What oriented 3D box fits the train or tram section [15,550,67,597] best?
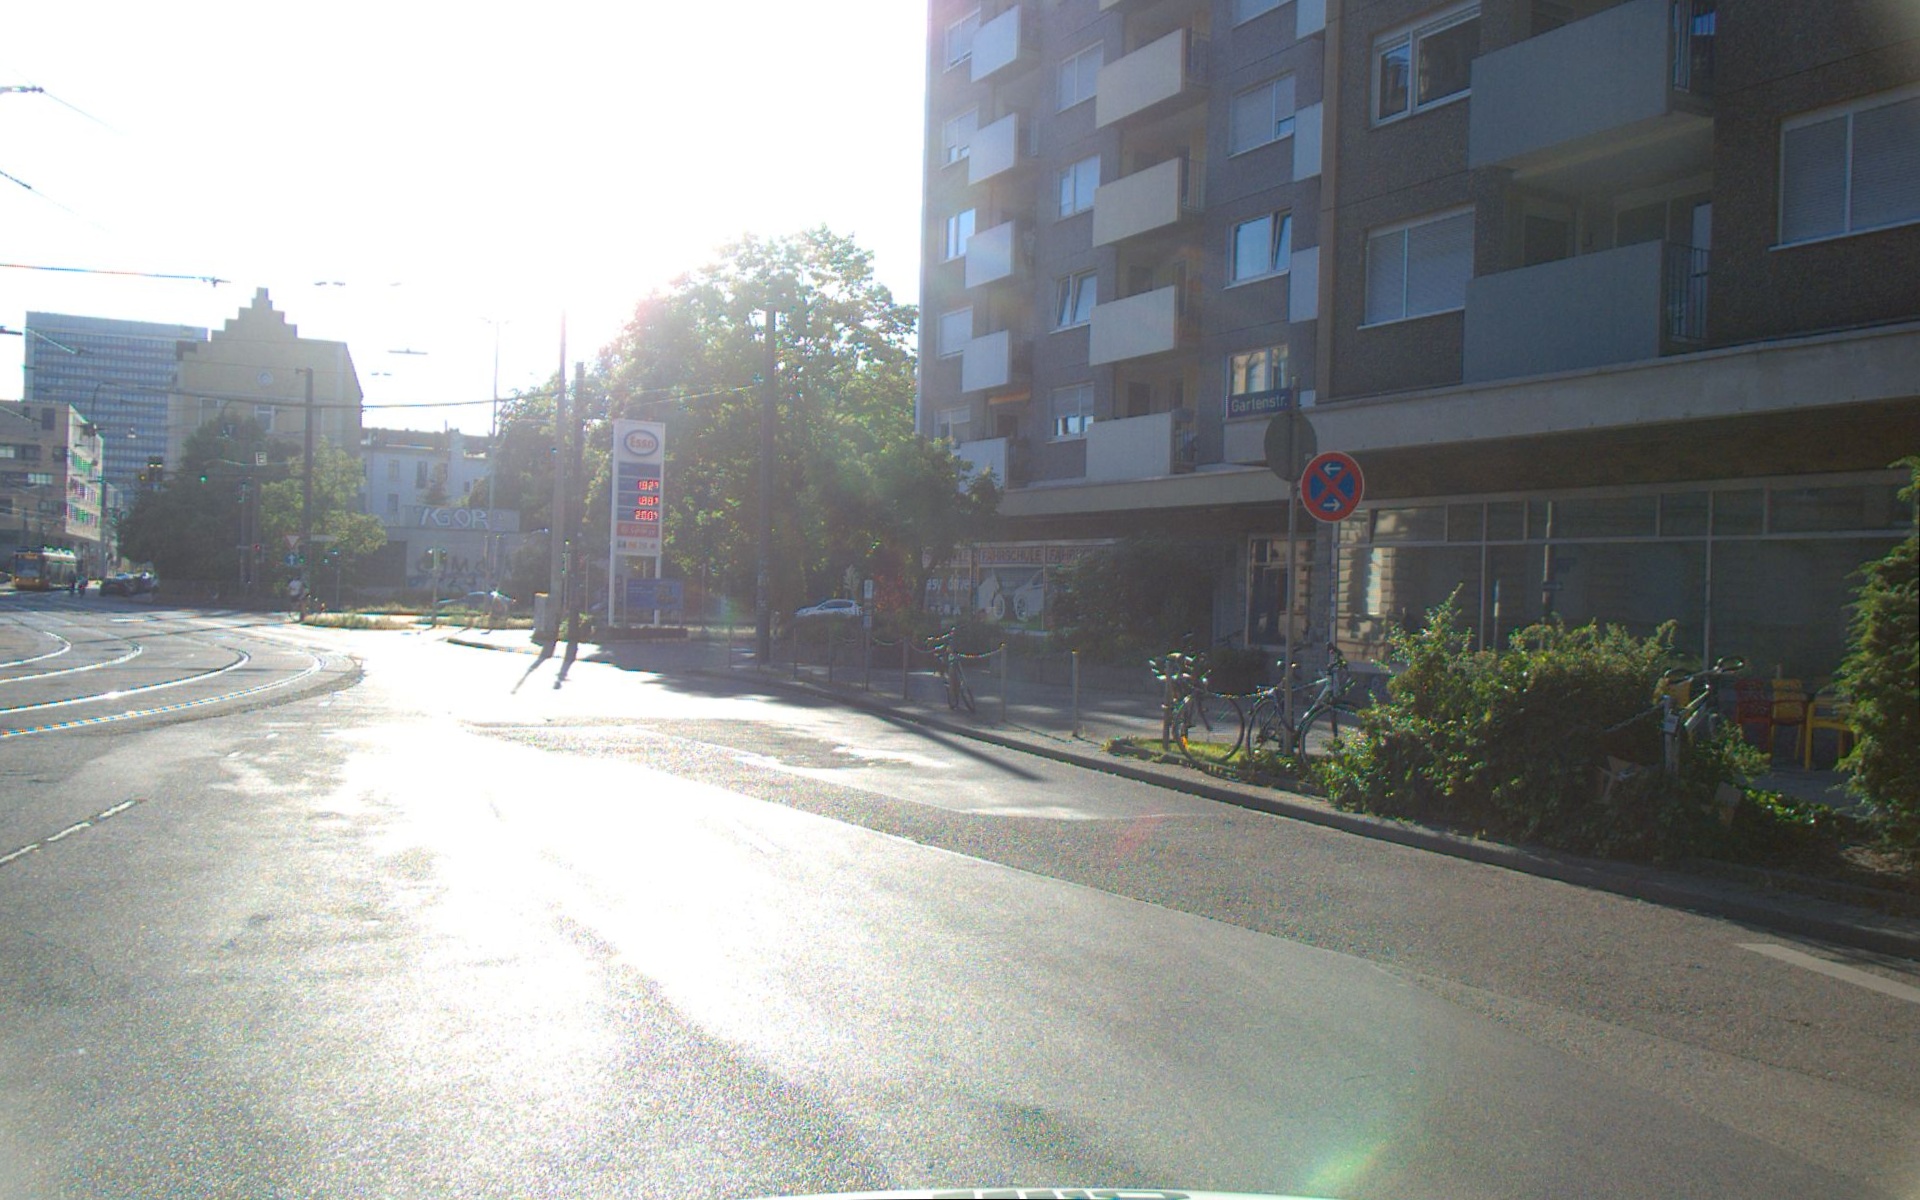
[{"bbox_3d":[-75.997,-2.127,136.934,2.211,3.637,14.173,1,0,-23],"label":"train or tram section"}]

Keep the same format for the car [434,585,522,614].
[{"bbox_3d":[-26.820,-0.026,92.082,4.389,1.513,1.778,1,0,-6],"label":"car"}]

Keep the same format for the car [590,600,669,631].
[{"bbox_3d":[-17.065,0.813,85.561,3.915,1.478,1.805,2,0,-11],"label":"car"}]

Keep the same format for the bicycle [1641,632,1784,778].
[{"bbox_3d":[5.795,0.787,12.773,0.343,1.056,1.045,1,0,-23],"label":"bicycle"}]

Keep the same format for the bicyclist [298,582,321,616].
[{"bbox_3d":[-27.707,-0.053,70.442,0.795,1.438,0.618,2,-1,-28],"label":"bicyclist"}]

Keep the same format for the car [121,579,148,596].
[{"bbox_3d":[-73.064,-1.104,146.340,1.968,1.512,3.969,1,0,-25],"label":"car"}]

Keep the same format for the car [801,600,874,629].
[{"bbox_3d":[-6.867,0.821,92.811,3.916,1.534,1.668,2,0,-11],"label":"car"}]

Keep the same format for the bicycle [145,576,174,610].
[{"bbox_3d":[-43.827,-0.398,90.554,1.329,1.838,0.566,1,0,-10],"label":"bicycle"}]

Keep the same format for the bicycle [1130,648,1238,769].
[{"bbox_3d":[2.167,1.031,16.265,0.626,1.040,2.086,1,0,-4],"label":"bicycle"}]

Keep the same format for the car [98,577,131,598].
[{"bbox_3d":[-62.952,-0.906,123.206,1.968,1.489,3.969,1,0,-25],"label":"car"}]

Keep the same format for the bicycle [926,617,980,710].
[{"bbox_3d":[-0.117,0.879,23.666,0.626,1.247,2.086,1,0,-4],"label":"bicycle"}]

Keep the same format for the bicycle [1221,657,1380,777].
[{"bbox_3d":[2.958,0.998,14.543,0.534,0.920,1.725,1,0,-20],"label":"bicycle"}]

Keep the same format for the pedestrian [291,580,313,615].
[{"bbox_3d":[-33.239,-0.136,83.551,0.914,1.722,0.771,2,-1,-25],"label":"pedestrian"}]

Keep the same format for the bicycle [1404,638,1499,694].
[{"bbox_3d":[8.681,1.154,29.252,0.635,0.914,1.636,1,0,-29],"label":"bicycle"}]

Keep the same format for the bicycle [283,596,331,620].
[{"bbox_3d":[-27.788,0.346,70.395,1.812,1.002,0.727,1,0,-29],"label":"bicycle"}]
